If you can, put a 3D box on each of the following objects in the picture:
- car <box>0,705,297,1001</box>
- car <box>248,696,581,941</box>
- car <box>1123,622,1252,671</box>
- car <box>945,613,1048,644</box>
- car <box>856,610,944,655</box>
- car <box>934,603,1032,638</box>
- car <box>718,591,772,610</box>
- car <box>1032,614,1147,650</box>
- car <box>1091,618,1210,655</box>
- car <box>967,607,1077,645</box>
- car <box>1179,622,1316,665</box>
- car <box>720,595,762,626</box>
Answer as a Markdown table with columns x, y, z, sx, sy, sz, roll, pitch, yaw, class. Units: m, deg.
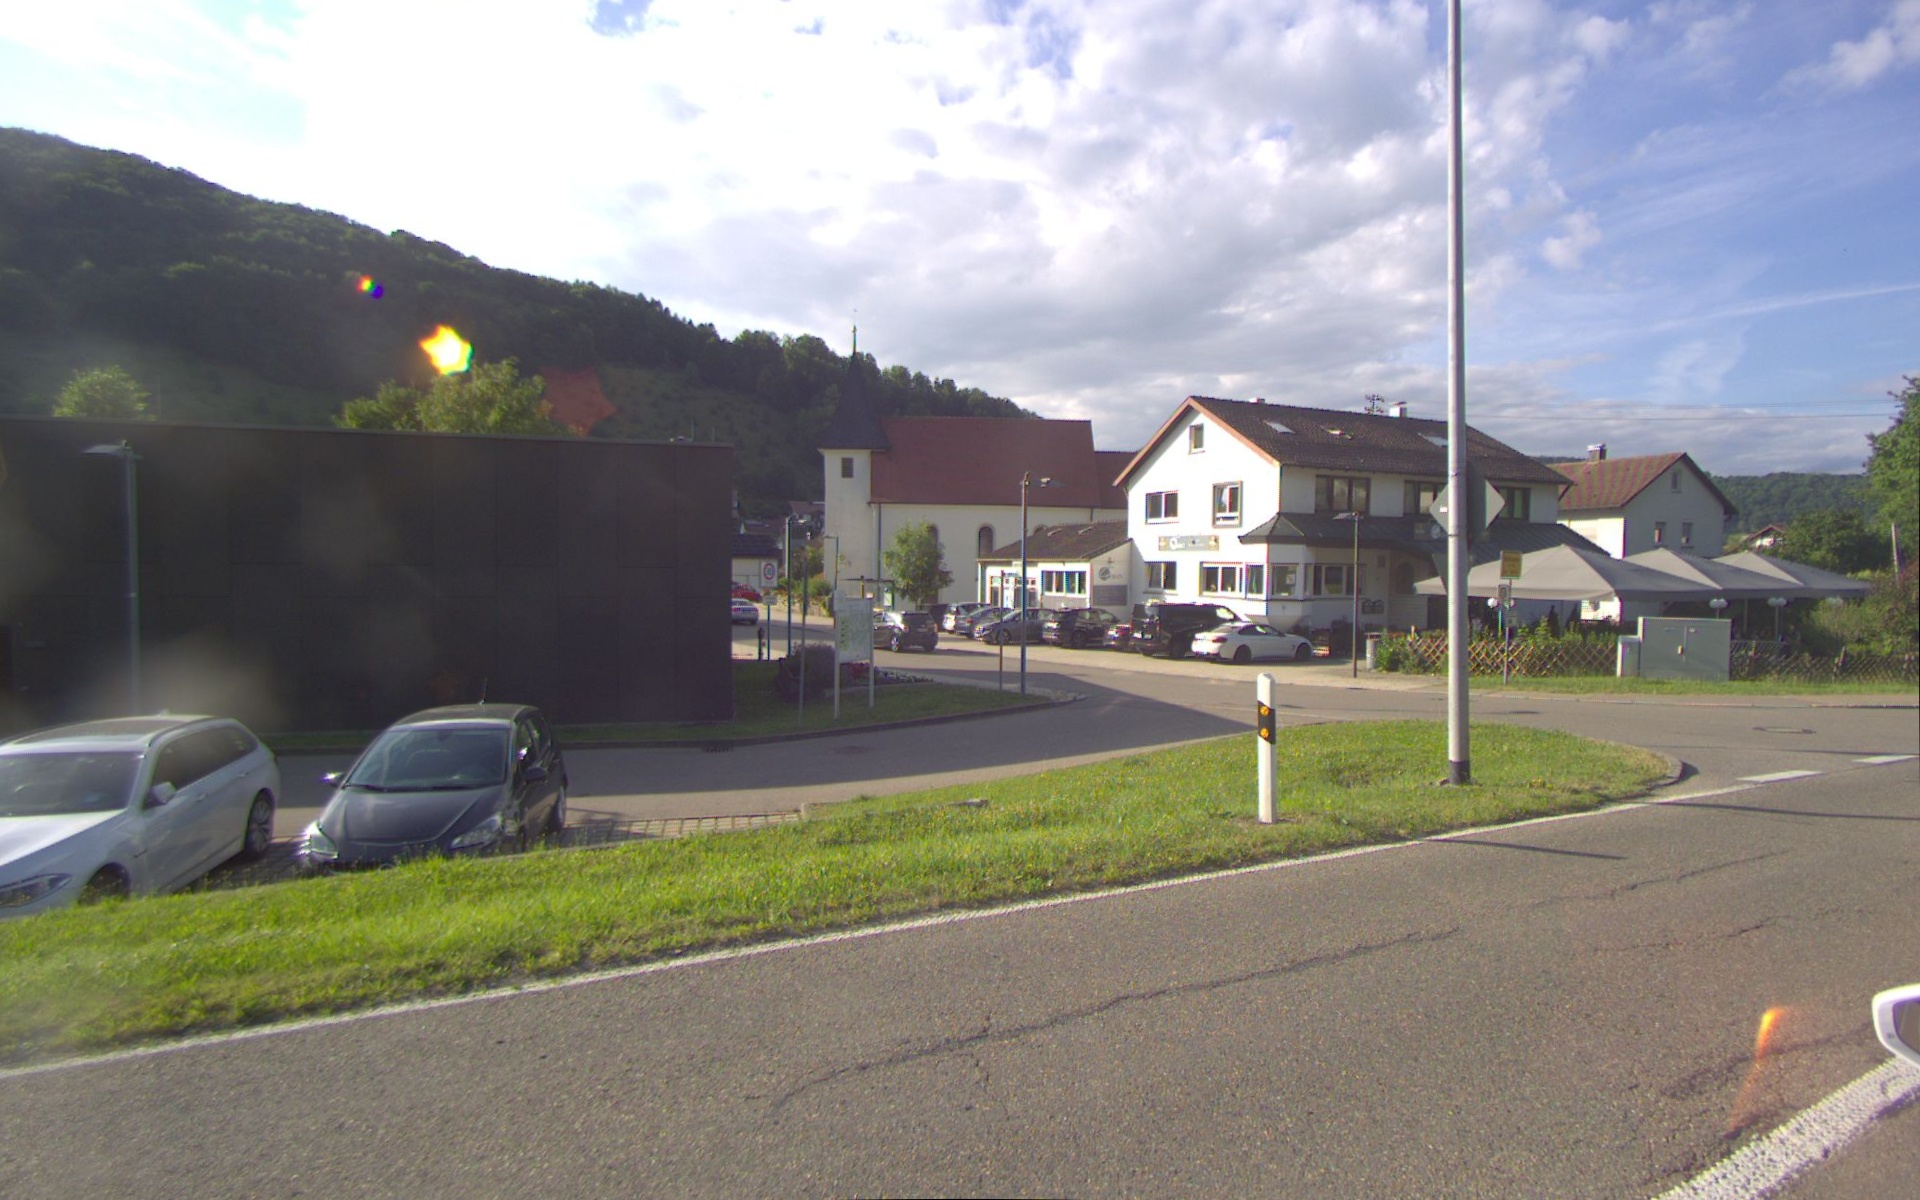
| x | y | z | sx | sy | sz | roll | pitch | yaw | class |
| --- | --- | --- | --- | --- | --- | --- | --- | --- | --- |
| -7.583 | 1.868 | 8.540 | 1.881 | 1.517 | 4.640 | 1 | -1 | -16 | car |
| -4.995 | 1.879 | 9.858 | 1.801 | 1.555 | 3.991 | 1 | -1 | -12 | car |
| 8.463 | 1.686 | 37.276 | 4.519 | 1.707 | 1.986 | 1 | -1 | -28 | car |
| 1.753 | 1.334 | 47.541 | 4.519 | 1.431 | 1.986 | 1 | -1 | -28 | car |
| -2.476 | 1.287 | 40.712 | 1.872 | 1.706 | 3.963 | 1 | -1 | -33 | car |
| 1.177 | 1.031 | 50.097 | 4.519 | 1.665 | 1.986 | 1 | -1 | -28 | car |
| -17.637 | 0.035 | 82.662 | 1.971 | 1.528 | 3.978 | 1 | 0 | 42 | car |
| 5.478 | 1.332 | 42.287 | 4.519 | 1.431 | 1.986 | 1 | -1 | -28 | car |
| 7.680 | 1.452 | 40.419 | 4.519 | 1.408 | 1.986 | 1 | -1 | -28 | car |
| 2.734 | 1.153 | 44.393 | 4.519 | 1.618 | 1.986 | 1 | -1 | -28 | car |
| 10.057 | 1.496 | 35.108 | 4.519 | 1.408 | 1.986 | 1 | -1 | -28 | car |
| -12.566 | 0.638 | 57.446 | 1.758 | 1.706 | 3.981 | 1 | -1 | -21 | car |
